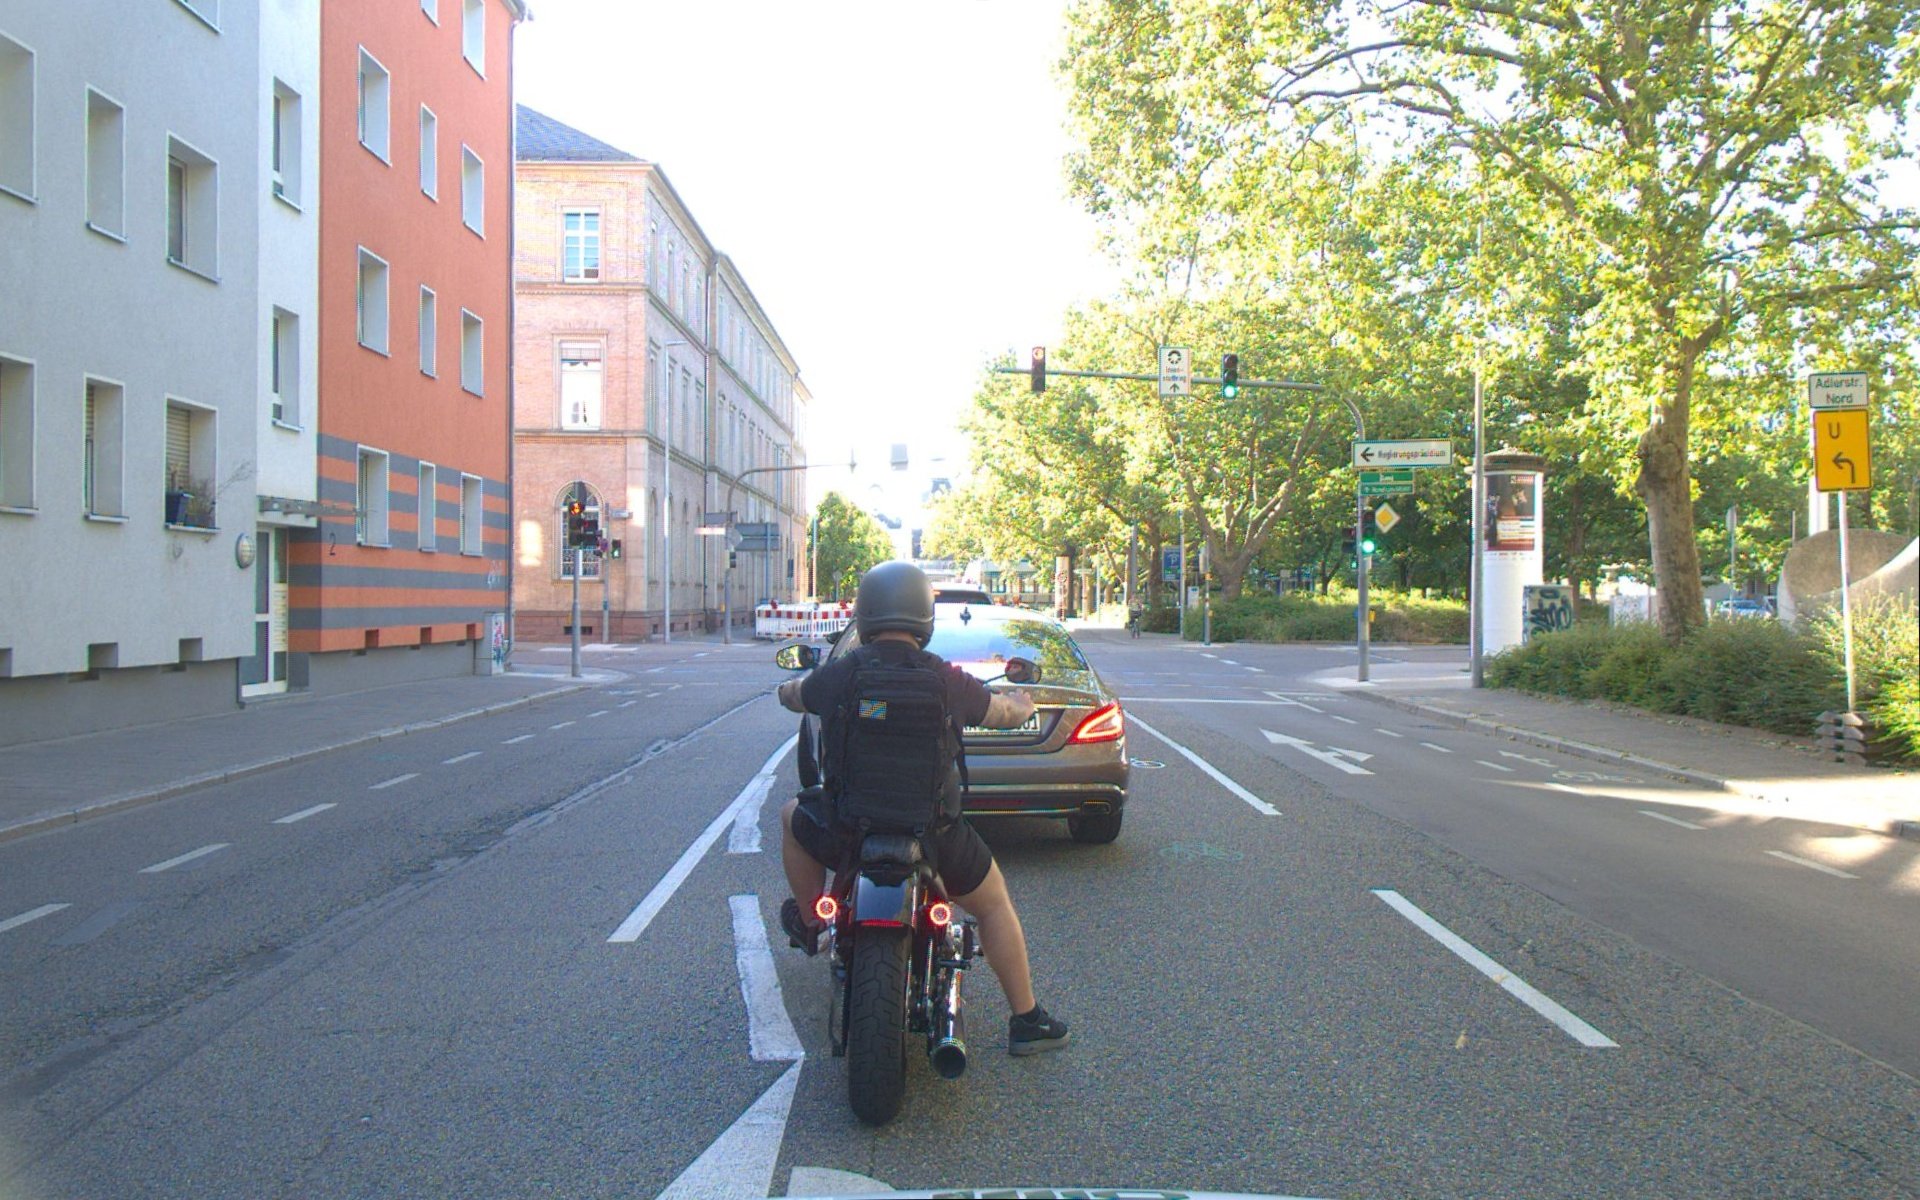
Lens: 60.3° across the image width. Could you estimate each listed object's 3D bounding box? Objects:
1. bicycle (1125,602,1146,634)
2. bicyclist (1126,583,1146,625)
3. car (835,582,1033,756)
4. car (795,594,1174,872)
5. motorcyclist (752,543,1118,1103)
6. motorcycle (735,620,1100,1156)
[{"bbox_3d":[6.869,0.702,64.879,0.701,1.193,2.177,1,0,3],"label":"bicycle"},{"bbox_3d":[6.881,0.164,64.730,0.701,1.610,0.936,1,0,3],"label":"bicyclist"},{"bbox_3d":[-0.342,0.609,16.759,1.777,1.563,3.846,0,0,-3],"label":"car"},{"bbox_3d":[-0.062,0.701,11.042,1.867,1.466,4.280,0,0,-9],"label":"car"},{"bbox_3d":[-0.077,0.651,5.260,1.039,1.610,0.908,1,0,-1],"label":"motorcyclist"},{"bbox_3d":[-0.128,0.775,5.528,0.942,1.380,2.319,1,0,-1],"label":"motorcycle"}]
